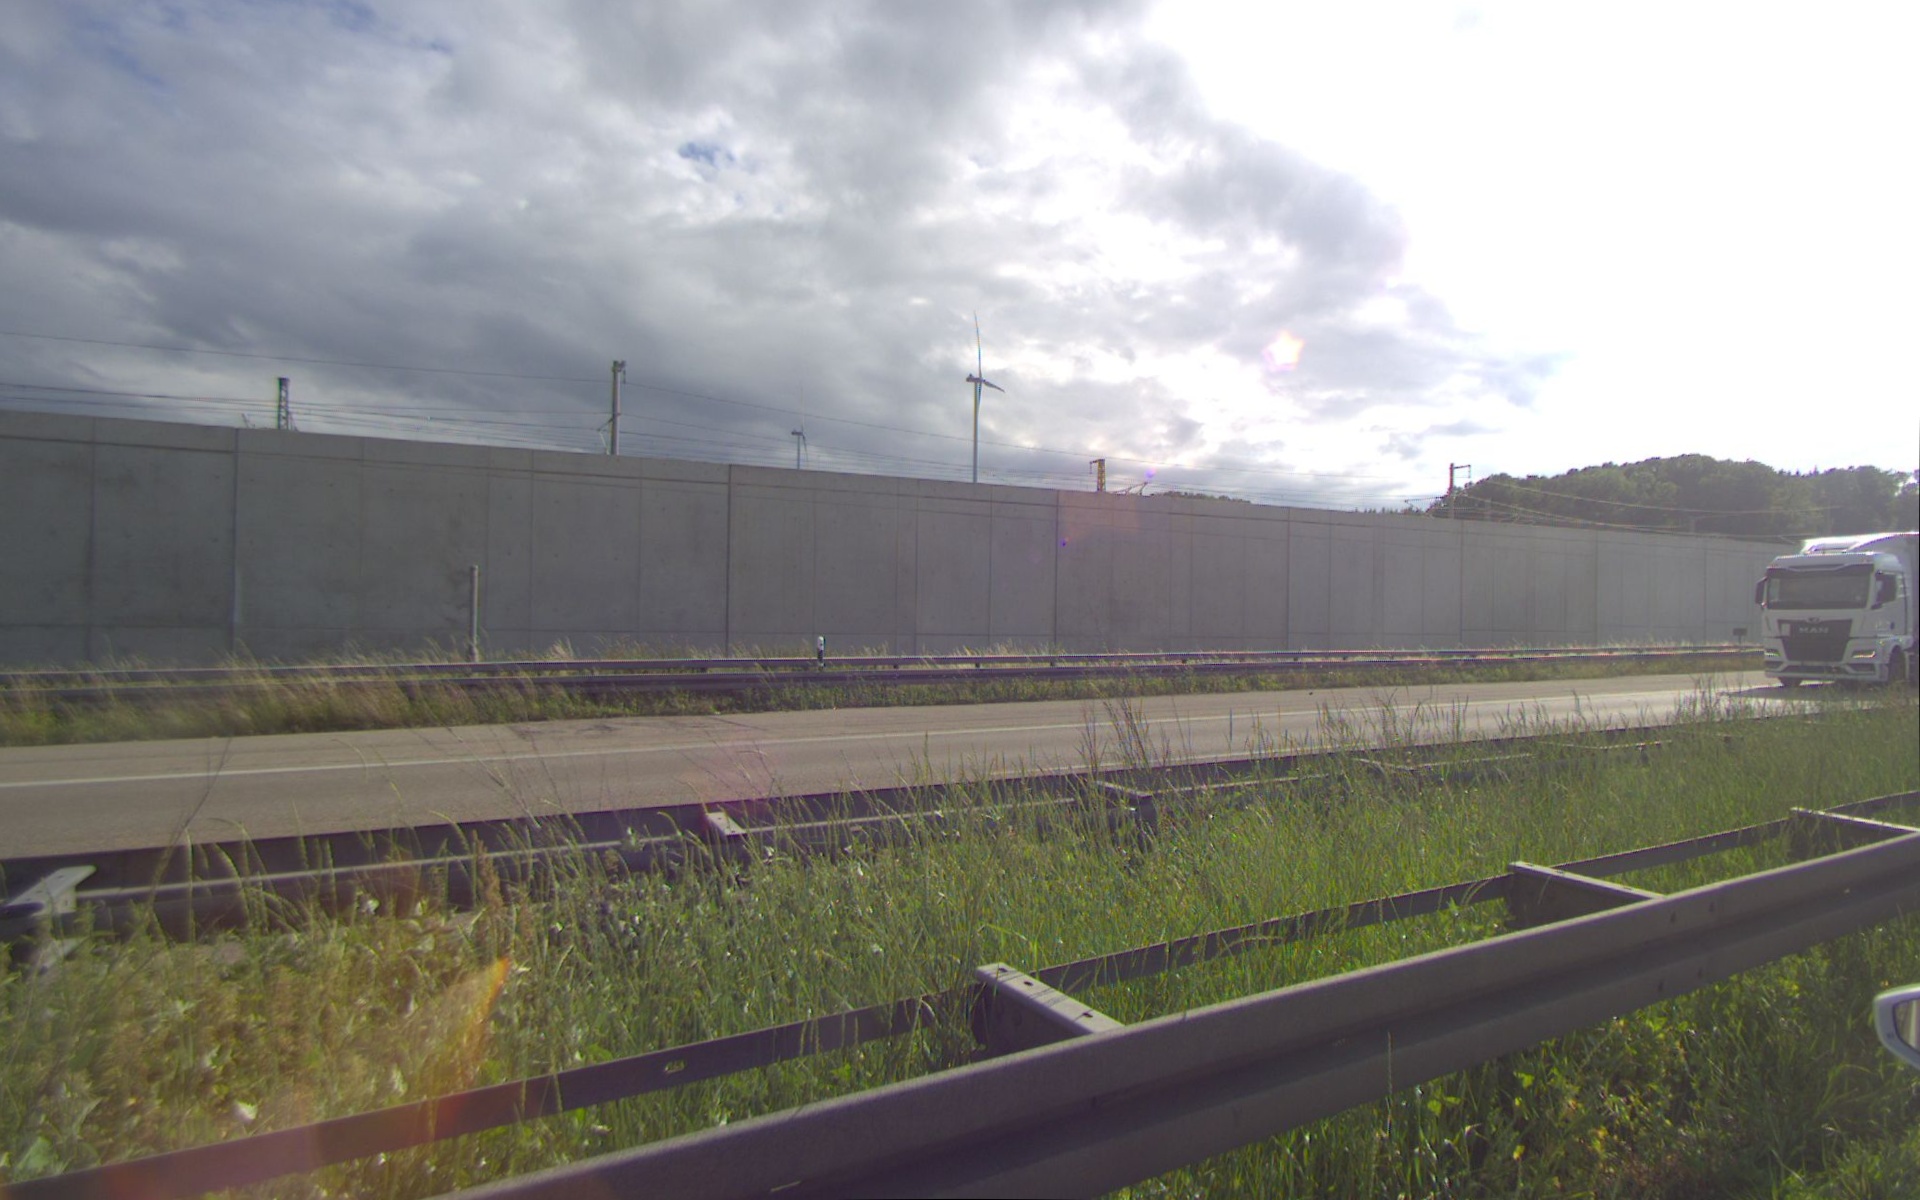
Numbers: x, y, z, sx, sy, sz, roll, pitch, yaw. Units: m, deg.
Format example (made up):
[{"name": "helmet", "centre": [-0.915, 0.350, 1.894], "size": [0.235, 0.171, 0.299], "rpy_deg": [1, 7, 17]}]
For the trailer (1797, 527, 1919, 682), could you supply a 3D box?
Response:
[{"name": "trailer", "centre": [30.595, 0.321, 31.239], "size": [13.365, 4.131, 2.776], "rpy_deg": [2, -2, -31]}]

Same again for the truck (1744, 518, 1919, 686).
[{"name": "truck", "centre": [24.356, 0.160, 27.451], "size": [5.468, 4.141, 2.763], "rpy_deg": [1, -3, -31]}]
